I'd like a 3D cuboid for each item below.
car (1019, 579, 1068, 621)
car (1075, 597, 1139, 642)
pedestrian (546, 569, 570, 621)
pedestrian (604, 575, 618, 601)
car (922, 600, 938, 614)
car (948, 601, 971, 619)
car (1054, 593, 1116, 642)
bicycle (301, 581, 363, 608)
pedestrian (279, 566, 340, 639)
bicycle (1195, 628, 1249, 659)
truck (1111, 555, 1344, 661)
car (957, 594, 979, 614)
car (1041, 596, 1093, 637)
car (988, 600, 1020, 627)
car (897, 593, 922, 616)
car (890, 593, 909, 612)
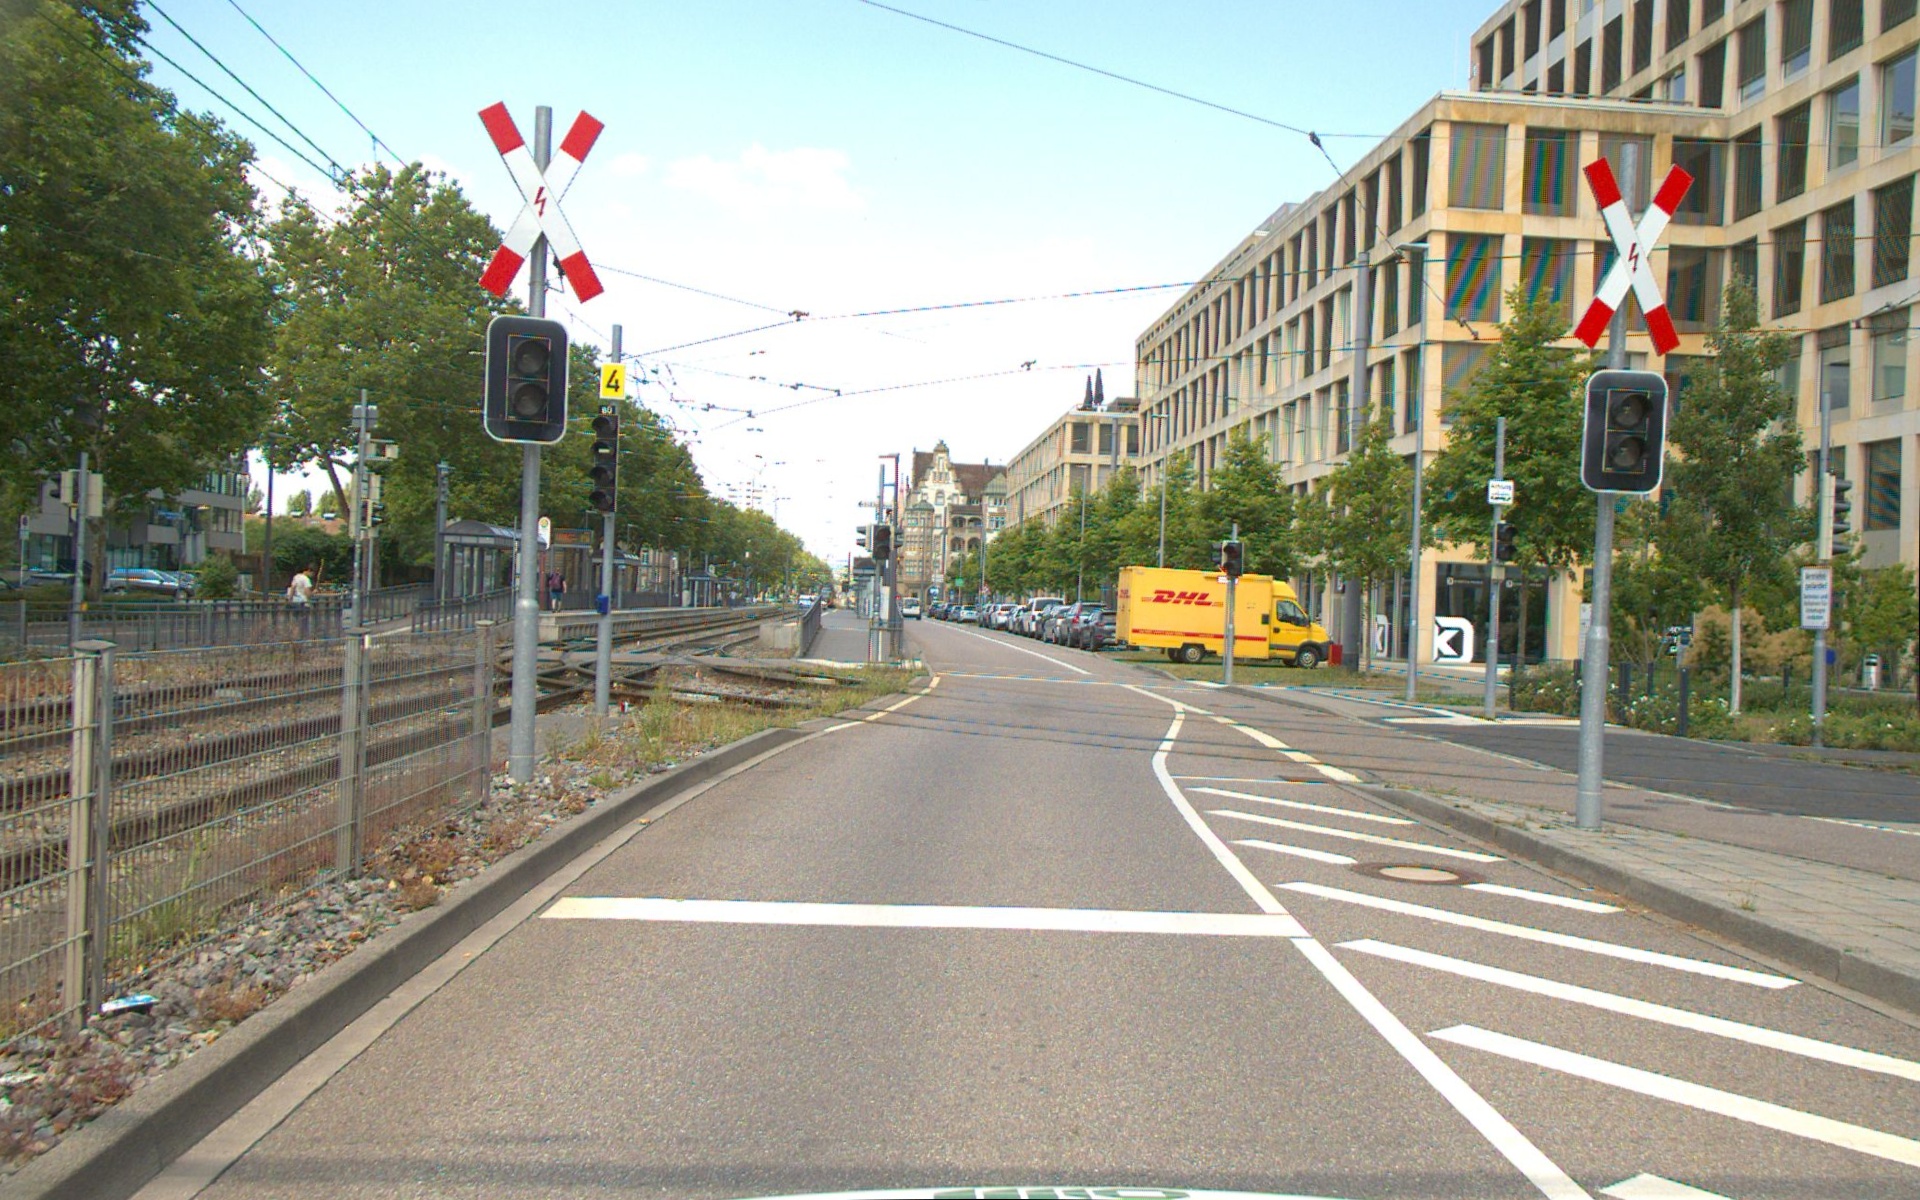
[{"bbox_3d":[4.120,0.001,82.413,1.844,1.973,4.839,1,0,-4],"label":"car"},{"bbox_3d":[5.337,0.700,60.390,1.658,1.531,4.065,2,0,-4],"label":"car"},{"bbox_3d":[-14.992,-0.189,61.695,0.692,1.877,0.864,2,0,-3],"label":"pedestrian"},{"bbox_3d":[-17.786,-0.624,84.355,0.541,1.291,0.767,2,0,-2],"label":"pedestrian"},{"bbox_3d":[-3.192,0.709,173.858,1.415,1.496,4.087,0,0,-6],"label":"car"},{"bbox_3d":[-0.083,0.838,147.111,1.561,1.459,4.102,4,0,-6],"label":"car"},{"bbox_3d":[4.925,0.675,65.886,1.734,1.798,4.836,2,0,-4],"label":"car"},{"bbox_3d":[-33.559,-0.286,88.458,2.977,1.188,0.634,5,-1,1],"label":"bicycle"},{"bbox_3d":[-12.402,0.046,31.540,0.845,1.367,0.921,1,-1,-7],"label":"pedestrian"},{"bbox_3d":[9.312,1.553,58.842,1.805,0.973,0.381,4,-1,-5],"label":"bicycle"},{"bbox_3d":[8.239,0.262,51.273,6.675,2.917,2.451,2,-1,-6],"label":"truck"},{"bbox_3d":[0.638,0.342,135.824,1.560,1.485,3.611,4,0,-3],"label":"car"},{"bbox_3d":[4.579,0.713,70.950,1.687,1.648,3.857,2,0,-4],"label":"car"},{"bbox_3d":[2.722,0.830,103.158,1.652,1.634,4.148,1,0,-4],"label":"car"},{"bbox_3d":[-4.300,0.417,139.653,1.832,1.777,3.996,4,-1,-4],"label":"car"},{"bbox_3d":[-6.766,0.322,184.163,1.954,2.049,3.997,1,-1,-3],"label":"car"}]
